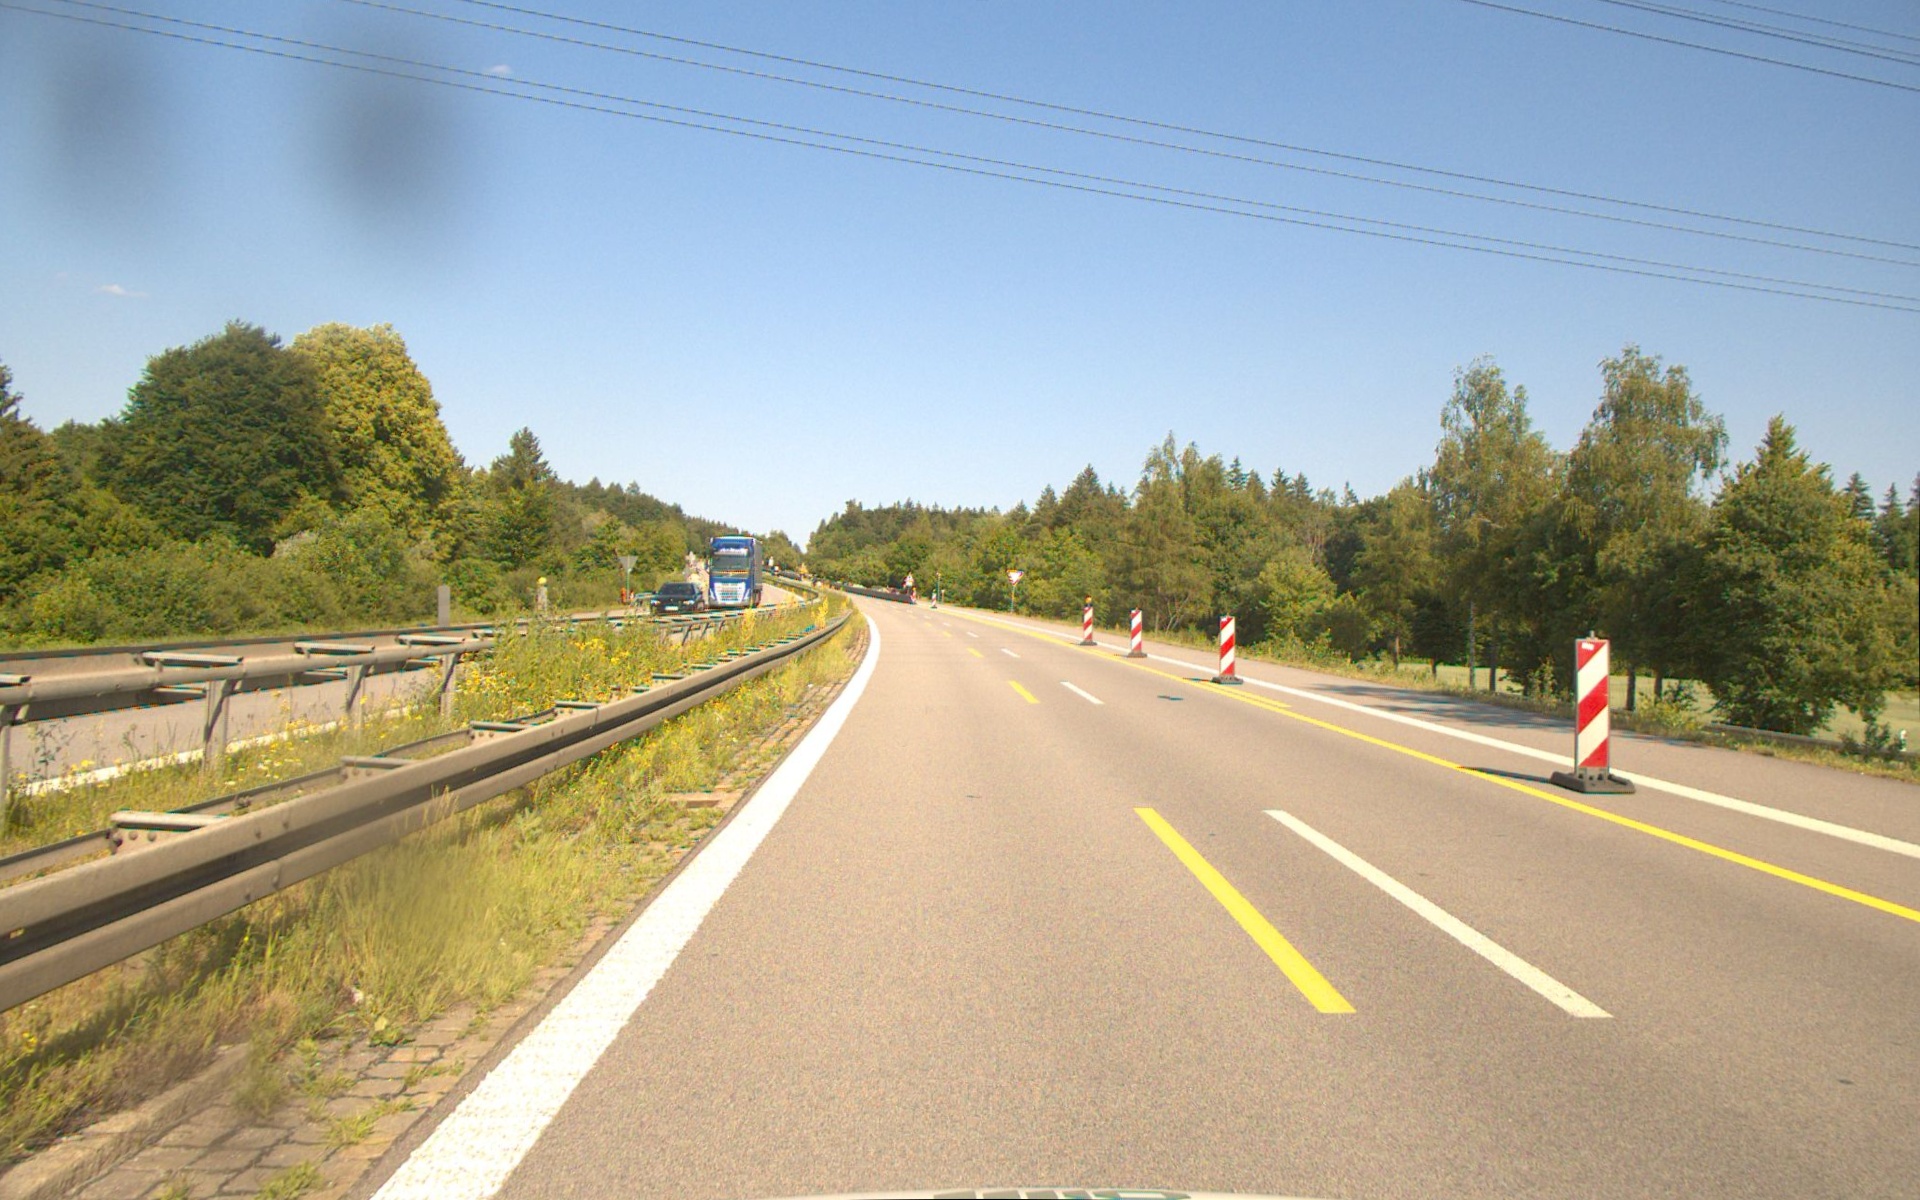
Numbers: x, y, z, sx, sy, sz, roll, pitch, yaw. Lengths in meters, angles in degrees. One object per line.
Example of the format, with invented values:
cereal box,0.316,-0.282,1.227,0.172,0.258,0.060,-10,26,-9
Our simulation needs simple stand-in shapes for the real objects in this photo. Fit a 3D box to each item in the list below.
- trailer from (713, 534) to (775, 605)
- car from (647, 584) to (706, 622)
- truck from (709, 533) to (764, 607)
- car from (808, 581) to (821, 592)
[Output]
trailer,-13.113,-1.823,101.331,2.625,4.023,13.761,1,1,-3
car,-11.206,0.125,65.625,1.741,1.454,4.267,0,0,-2
truck,-12.795,-1.685,94.931,2.580,4.028,5.839,1,0,-3
car,-22.696,-2.138,258.137,1.712,1.491,4.285,3,1,-9
